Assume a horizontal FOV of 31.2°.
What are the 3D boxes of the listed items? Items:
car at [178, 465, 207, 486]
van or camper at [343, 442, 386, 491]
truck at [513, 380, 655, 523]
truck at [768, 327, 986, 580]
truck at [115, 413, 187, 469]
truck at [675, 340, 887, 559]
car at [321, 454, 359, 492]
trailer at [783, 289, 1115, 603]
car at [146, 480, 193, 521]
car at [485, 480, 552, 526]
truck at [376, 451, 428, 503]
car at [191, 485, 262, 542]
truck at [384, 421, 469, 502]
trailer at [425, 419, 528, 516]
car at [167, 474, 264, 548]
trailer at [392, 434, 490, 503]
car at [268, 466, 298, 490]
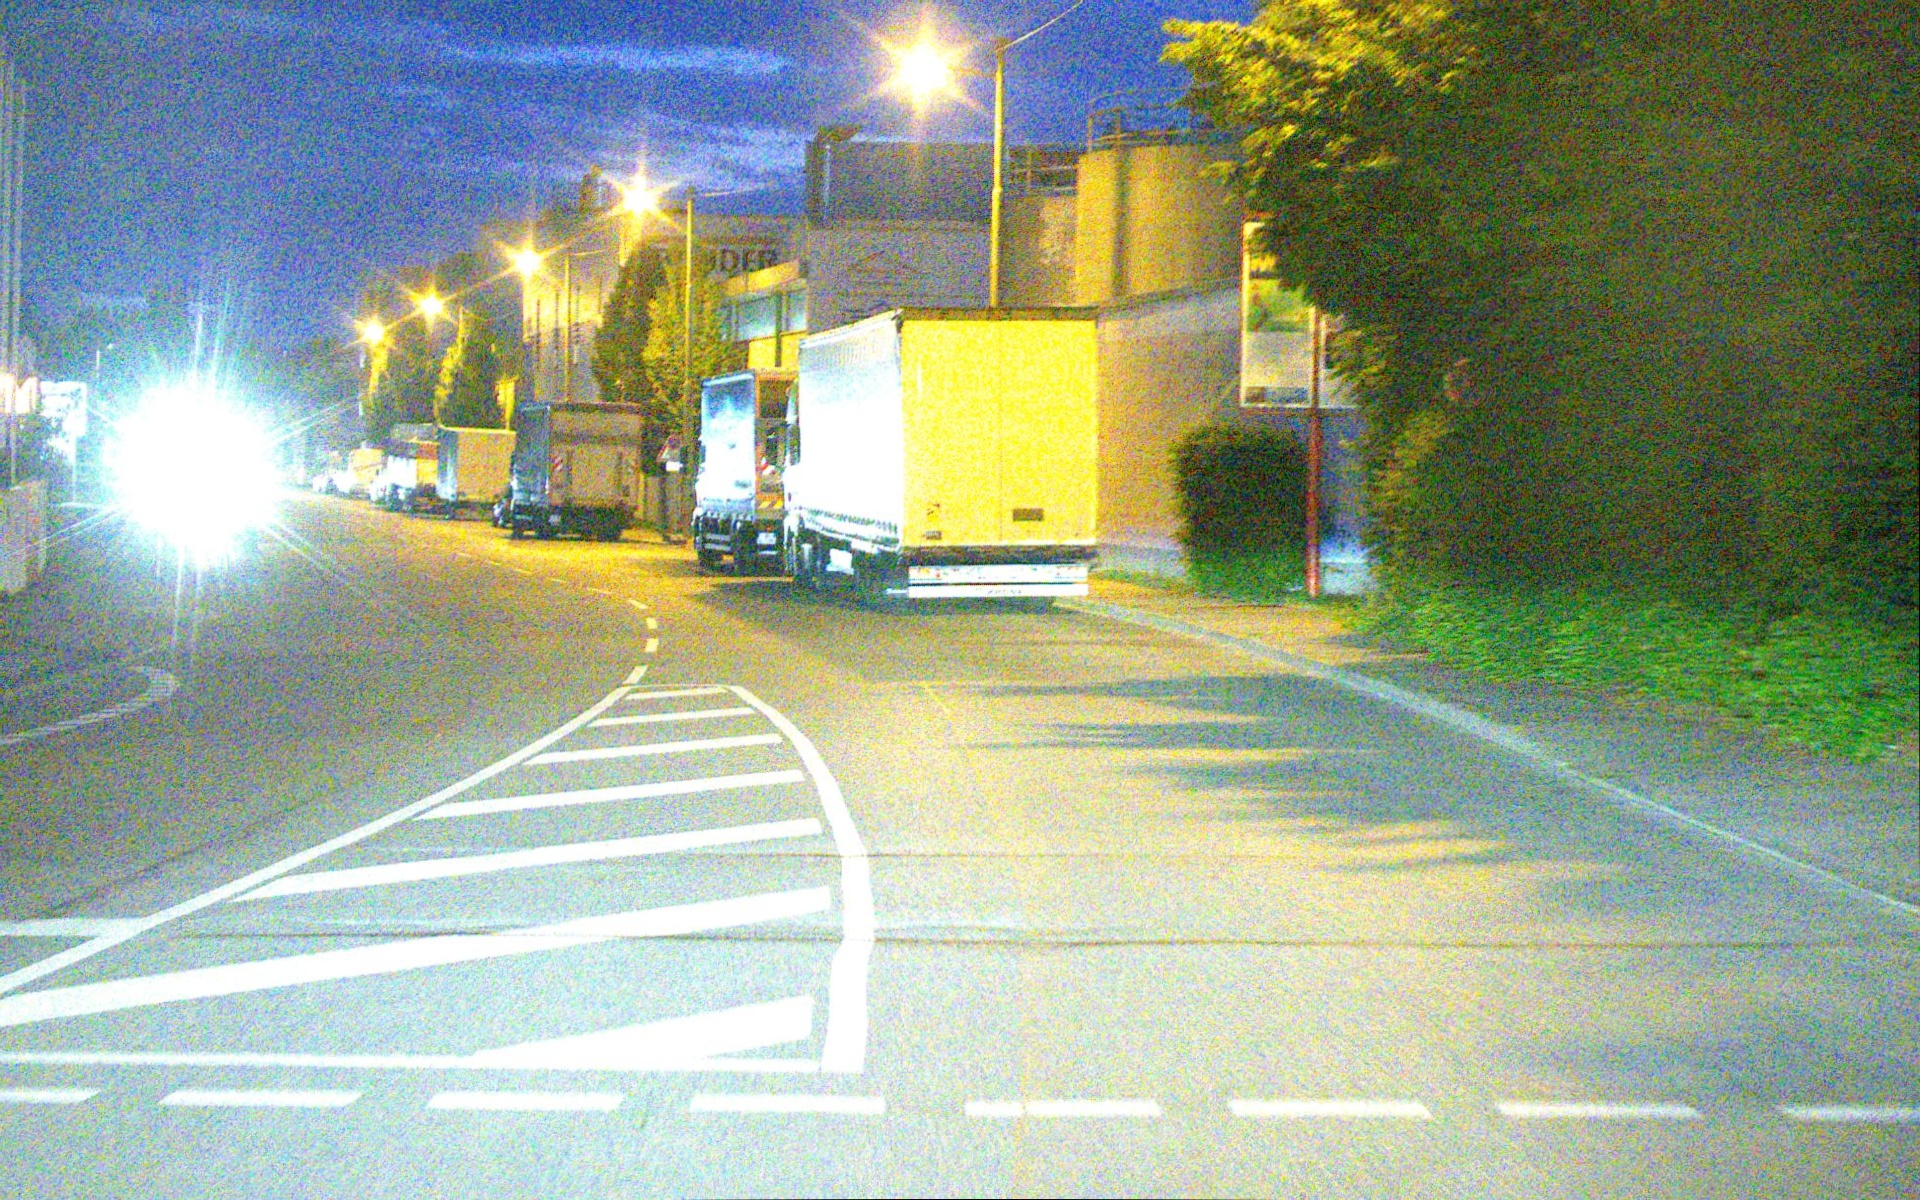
[{"bbox_3d":[-55.224,-8.967,247.363,1.993,1.393,4.002,1,2,-13],"label":"car"},{"bbox_3d":[-31.873,-7.152,183.946,1.993,2.572,4.916,1,2,-13],"label":"van or camper"},{"bbox_3d":[-11.099,-4.300,100.620,3.519,3.969,10.346,-1,2,-9],"label":"truck"},{"bbox_3d":[-1.466,-2.412,57.197,2.829,3.969,6.052,-1,2,-9],"label":"truck"},{"bbox_3d":[-54.160,-10.614,229.931,3.889,3.609,8.263,1,2,-19],"label":"truck"},{"bbox_3d":[-3.672,-2.907,67.762,2.829,3.969,10.346,-1,2,-10],"label":"truck"},{"bbox_3d":[-36.766,-7.532,203.762,1.993,2.138,4.002,1,2,-13],"label":"car"},{"bbox_3d":[-0.484,-2.193,50.732,2.808,3.969,13.979,-1,2,-9],"label":"trailer"},{"bbox_3d":[-35.714,-4.514,155.278,1.993,1.787,4.002,1,2,-13],"label":"car"},{"bbox_3d":[-14.875,-3.281,115.726,1.852,1.514,3.819,-1,2,-13],"label":"car"},{"bbox_3d":[-26.455,-5.829,162.914,1.993,2.399,5.295,1,2,-13],"label":"truck"},{"bbox_3d":[-18.422,-2.187,86.300,1.601,1.349,4.002,1,2,-14],"label":"car"},{"bbox_3d":[-23.494,-6.074,151.088,3.150,3.451,6.676,-1,2,-13],"label":"truck"},{"bbox_3d":[-18.090,-4.915,128.259,2.686,3.452,7.812,1,2,-16],"label":"trailer"},{"bbox_3d":[-17.500,-2.106,80.706,1.993,1.630,4.776,1,2,-15],"label":"car"},{"bbox_3d":[-21.839,-5.485,144.153,3.183,2.739,10.719,-1,2,-13],"label":"trailer"},{"bbox_3d":[-49.741,-8.978,252.457,1.993,1.678,4.002,1,2,-13],"label":"car"}]
